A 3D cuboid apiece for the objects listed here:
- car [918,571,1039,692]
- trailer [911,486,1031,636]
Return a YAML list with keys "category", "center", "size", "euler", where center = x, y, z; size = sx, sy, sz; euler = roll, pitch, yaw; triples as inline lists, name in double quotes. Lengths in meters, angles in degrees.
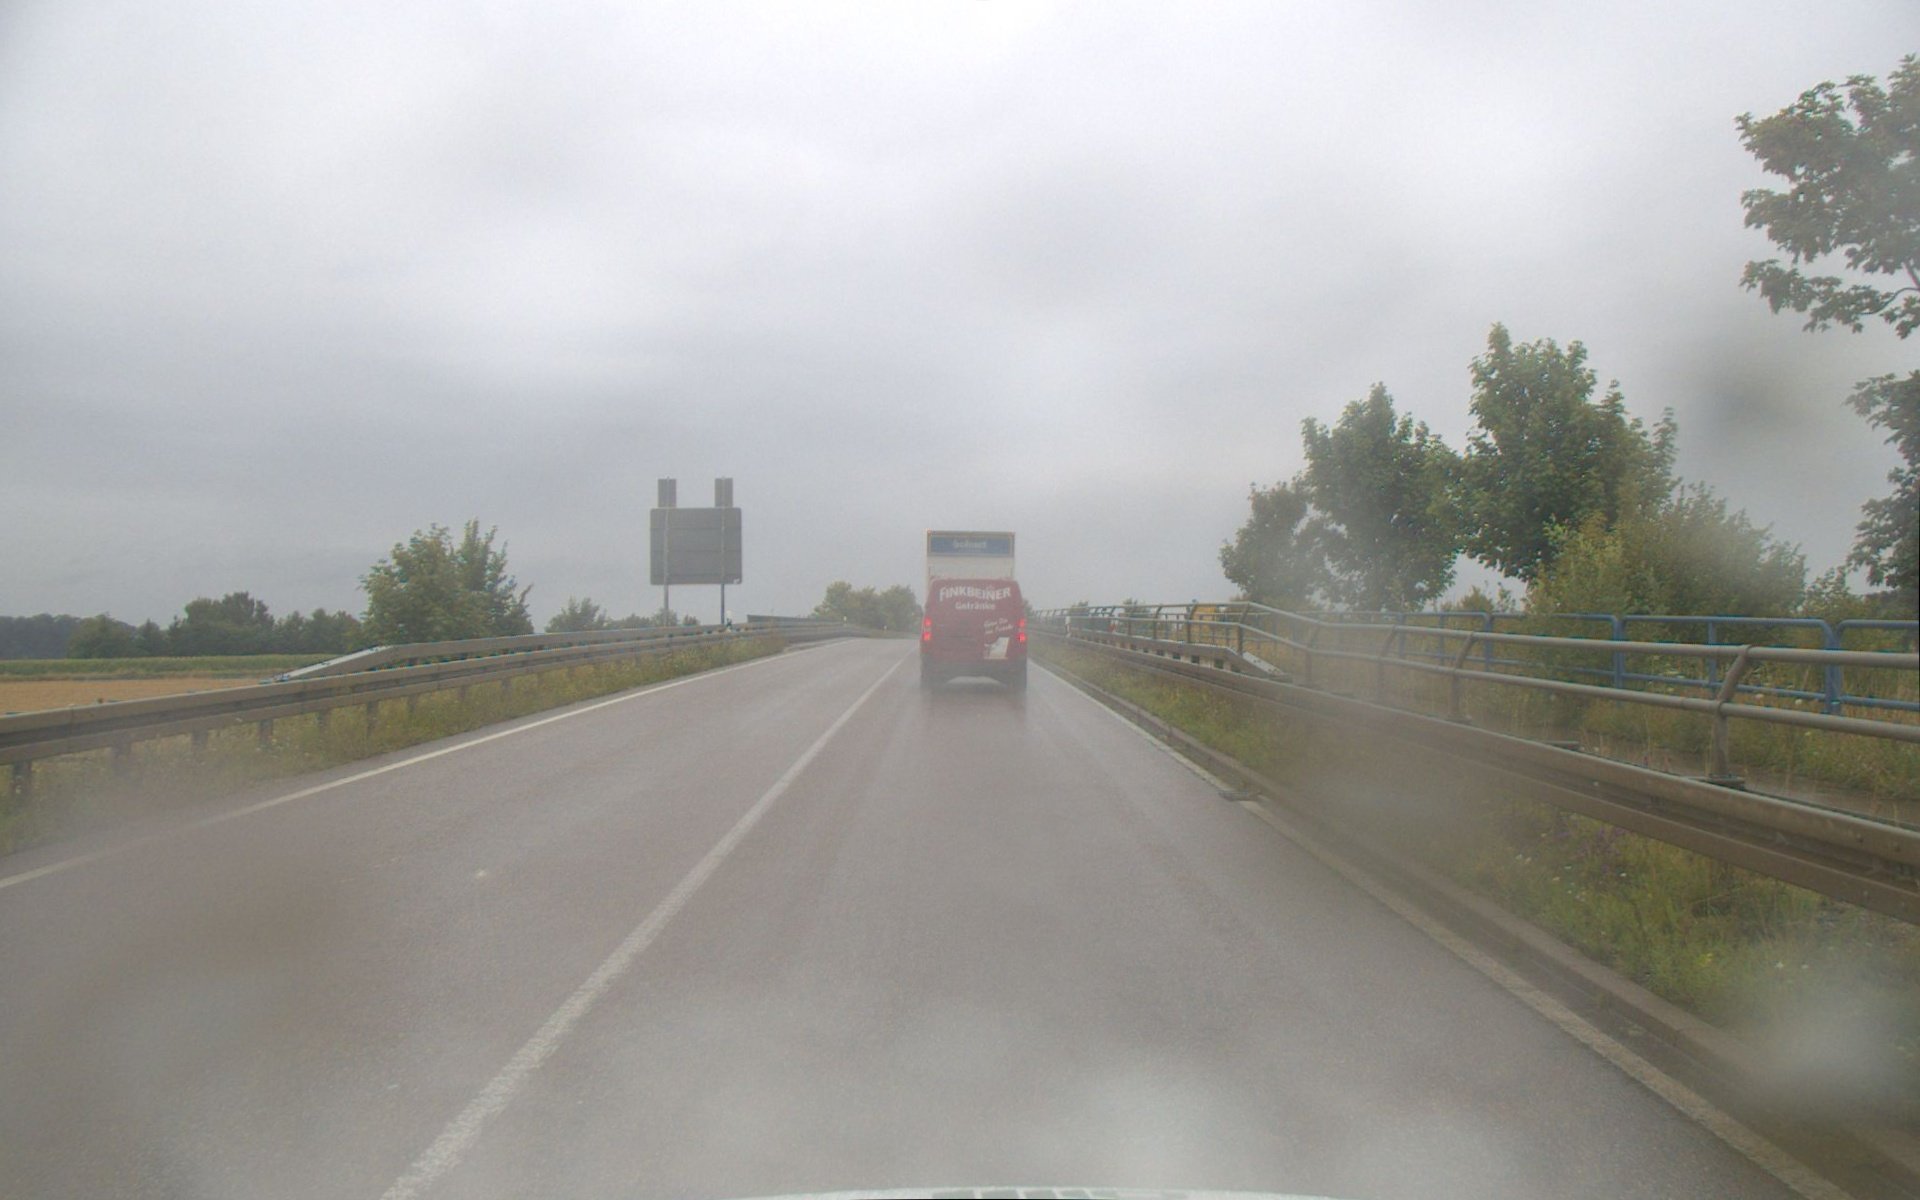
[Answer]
- category: "car"
  center: [0.272, 0.523, 29.240]
  size: [1.953, 1.959, 4.142]
  euler: [1, 0, -1]
- category: "trailer"
  center: [0.403, -0.993, 50.419]
  size: [3.135, 3.990, 8.740]
  euler: [3, -1, 1]
